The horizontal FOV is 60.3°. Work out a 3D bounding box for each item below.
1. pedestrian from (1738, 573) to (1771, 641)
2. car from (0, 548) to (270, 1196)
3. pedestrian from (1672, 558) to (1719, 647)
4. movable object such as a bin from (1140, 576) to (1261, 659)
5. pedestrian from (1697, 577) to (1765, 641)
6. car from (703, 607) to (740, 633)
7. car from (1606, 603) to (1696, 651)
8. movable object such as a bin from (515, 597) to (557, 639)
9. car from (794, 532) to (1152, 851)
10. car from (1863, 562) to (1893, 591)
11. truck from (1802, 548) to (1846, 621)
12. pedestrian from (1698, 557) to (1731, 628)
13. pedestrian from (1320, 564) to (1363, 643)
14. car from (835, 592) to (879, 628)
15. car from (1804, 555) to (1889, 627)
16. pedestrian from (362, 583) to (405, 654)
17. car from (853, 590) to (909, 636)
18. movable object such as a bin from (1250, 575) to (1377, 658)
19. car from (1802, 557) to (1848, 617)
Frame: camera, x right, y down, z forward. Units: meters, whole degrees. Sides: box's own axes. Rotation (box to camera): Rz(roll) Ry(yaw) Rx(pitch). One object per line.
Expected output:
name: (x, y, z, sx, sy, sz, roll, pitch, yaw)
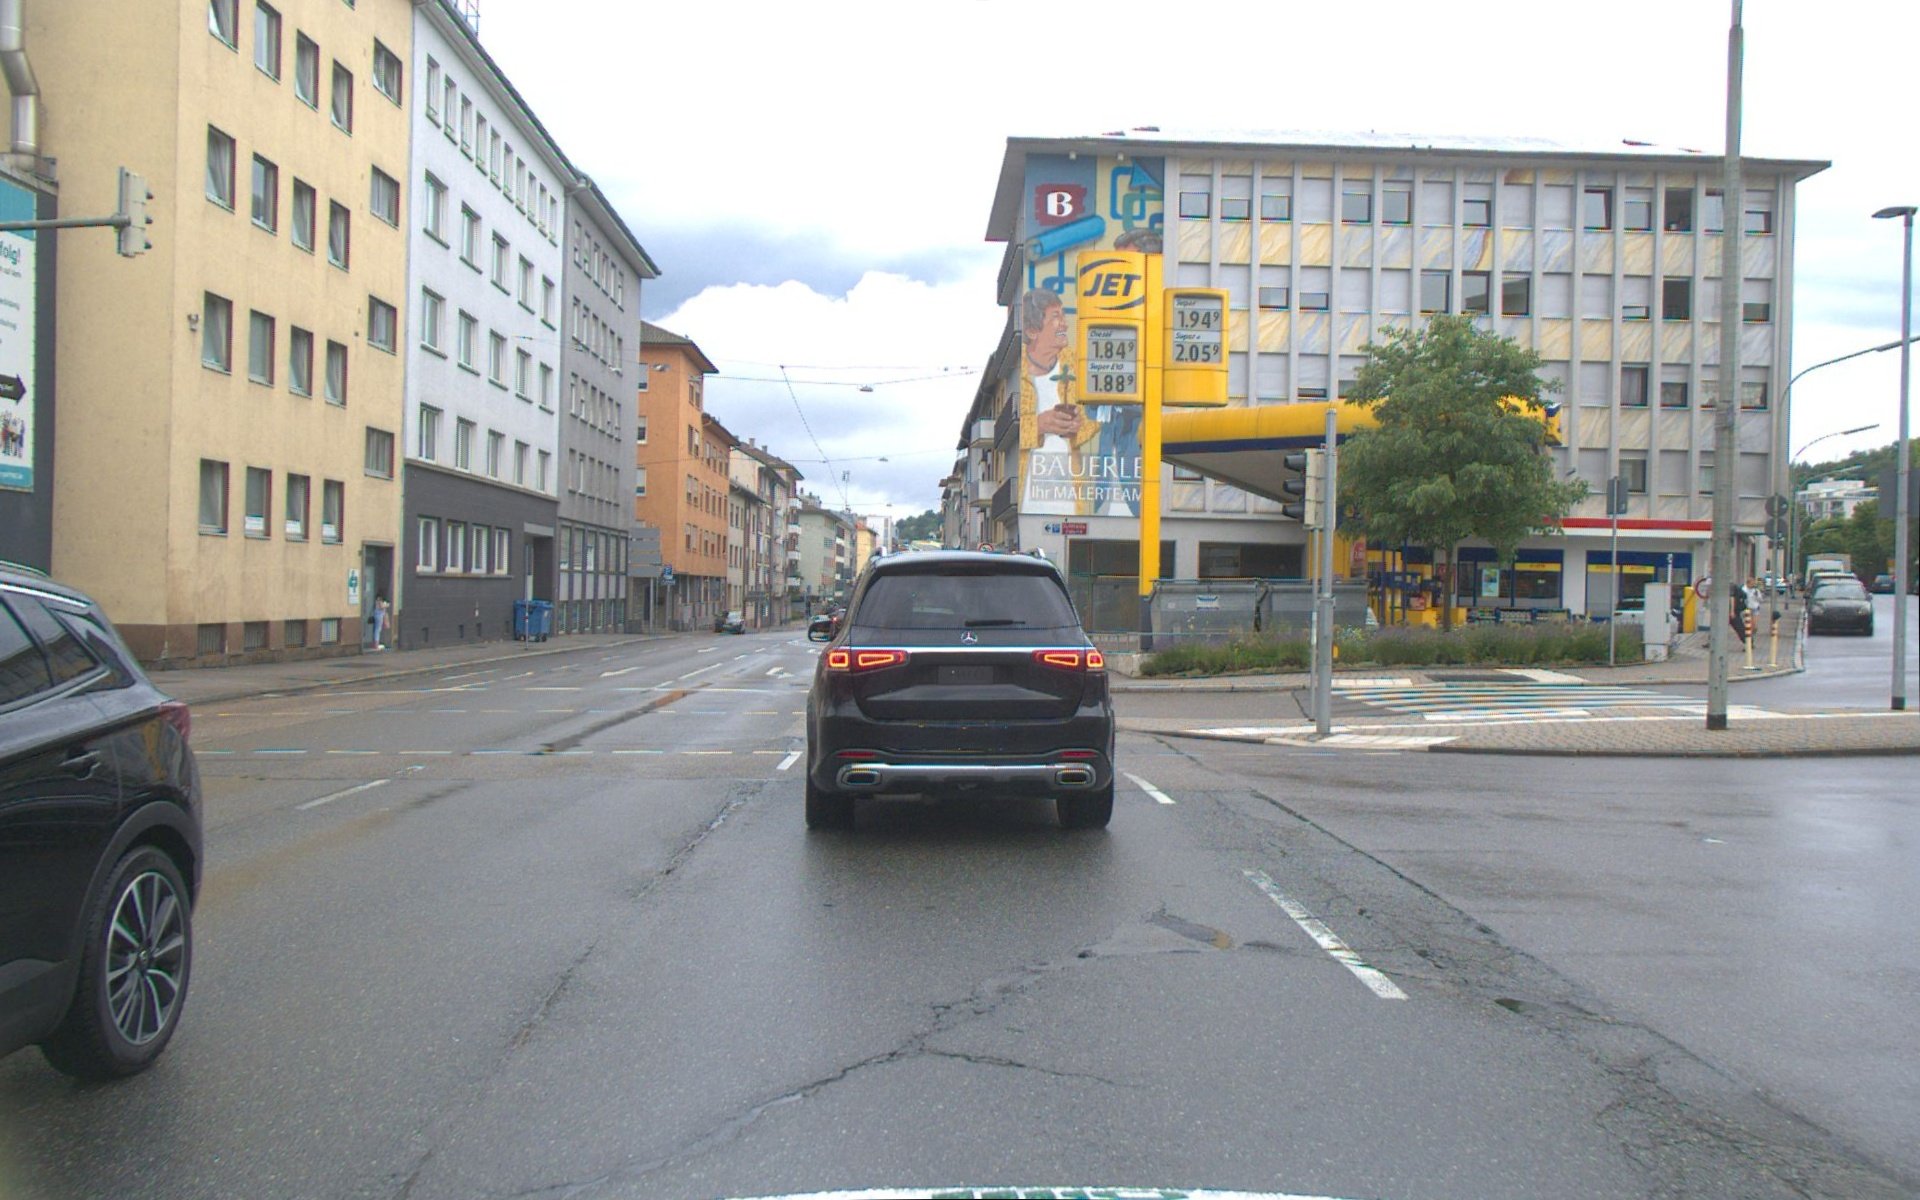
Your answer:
pedestrian: (18.461, 0.158, 38.449, 0.570, 1.541, 0.472, 3, -1, -43)
car: (-3.270, 0.670, 3.606, 1.771, 1.622, 4.294, 1, 0, -1)
pedestrian: (22.049, 0.079, 49.609, 0.984, 2.611, 1.149, 2, -1, 12)
movable object such as a bin: (4.749, 0.346, 32.837, 2.112, 1.602, 1.772, 0, 0, -2)
pedestrian: (17.241, 0.192, 36.994, 0.910, 1.376, 1.096, 3, -1, -43)
car: (-14.617, 1.225, 101.514, 1.854, 1.484, 4.546, 2, 0, -4)
car: (23.496, 0.961, 56.135, 1.959, 1.542, 4.403, -1, -2, 34)
movable object such as a bin: (-14.225, 0.603, 55.489, 1.054, 1.347, 1.190, 2, 0, -2)
car: (-0.005, 0.537, 12.031, 2.034, 1.796, 4.609, 2, 0, -2)
car: (71.530, -1.836, 128.867, 1.956, 2.049, 3.993, 2, 0, 29)
truck: (49.730, -0.846, 95.287, 1.955, 3.982, 5.479, 2, 0, 26)
pedestrian: (19.404, -0.193, 42.570, 0.663, 1.788, 0.732, 2, -1, 21)
pedestrian: (8.008, 0.074, 34.755, 0.651, 1.612, 0.847, 2, 0, 0)
car: (-5.152, 0.509, 83.491, 2.034, 1.678, 4.293, 2, 0, -2)
car: (25.776, -0.238, 48.220, 1.955, 1.897, 4.575, 2, 0, 26)
pedestrian: (-14.272, 0.455, 40.948, 0.702, 1.719, 0.811, 2, -1, 0)
car: (-3.071, 0.482, 64.899, 2.034, 1.678, 4.293, 2, 0, -2)
movable object such as a bin: (7.007, 0.315, 32.922, 2.112, 1.582, 1.772, -1, 0, -2)
car: (46.440, -0.650, 88.848, 1.955, 3.025, 4.575, 2, 0, 26)
